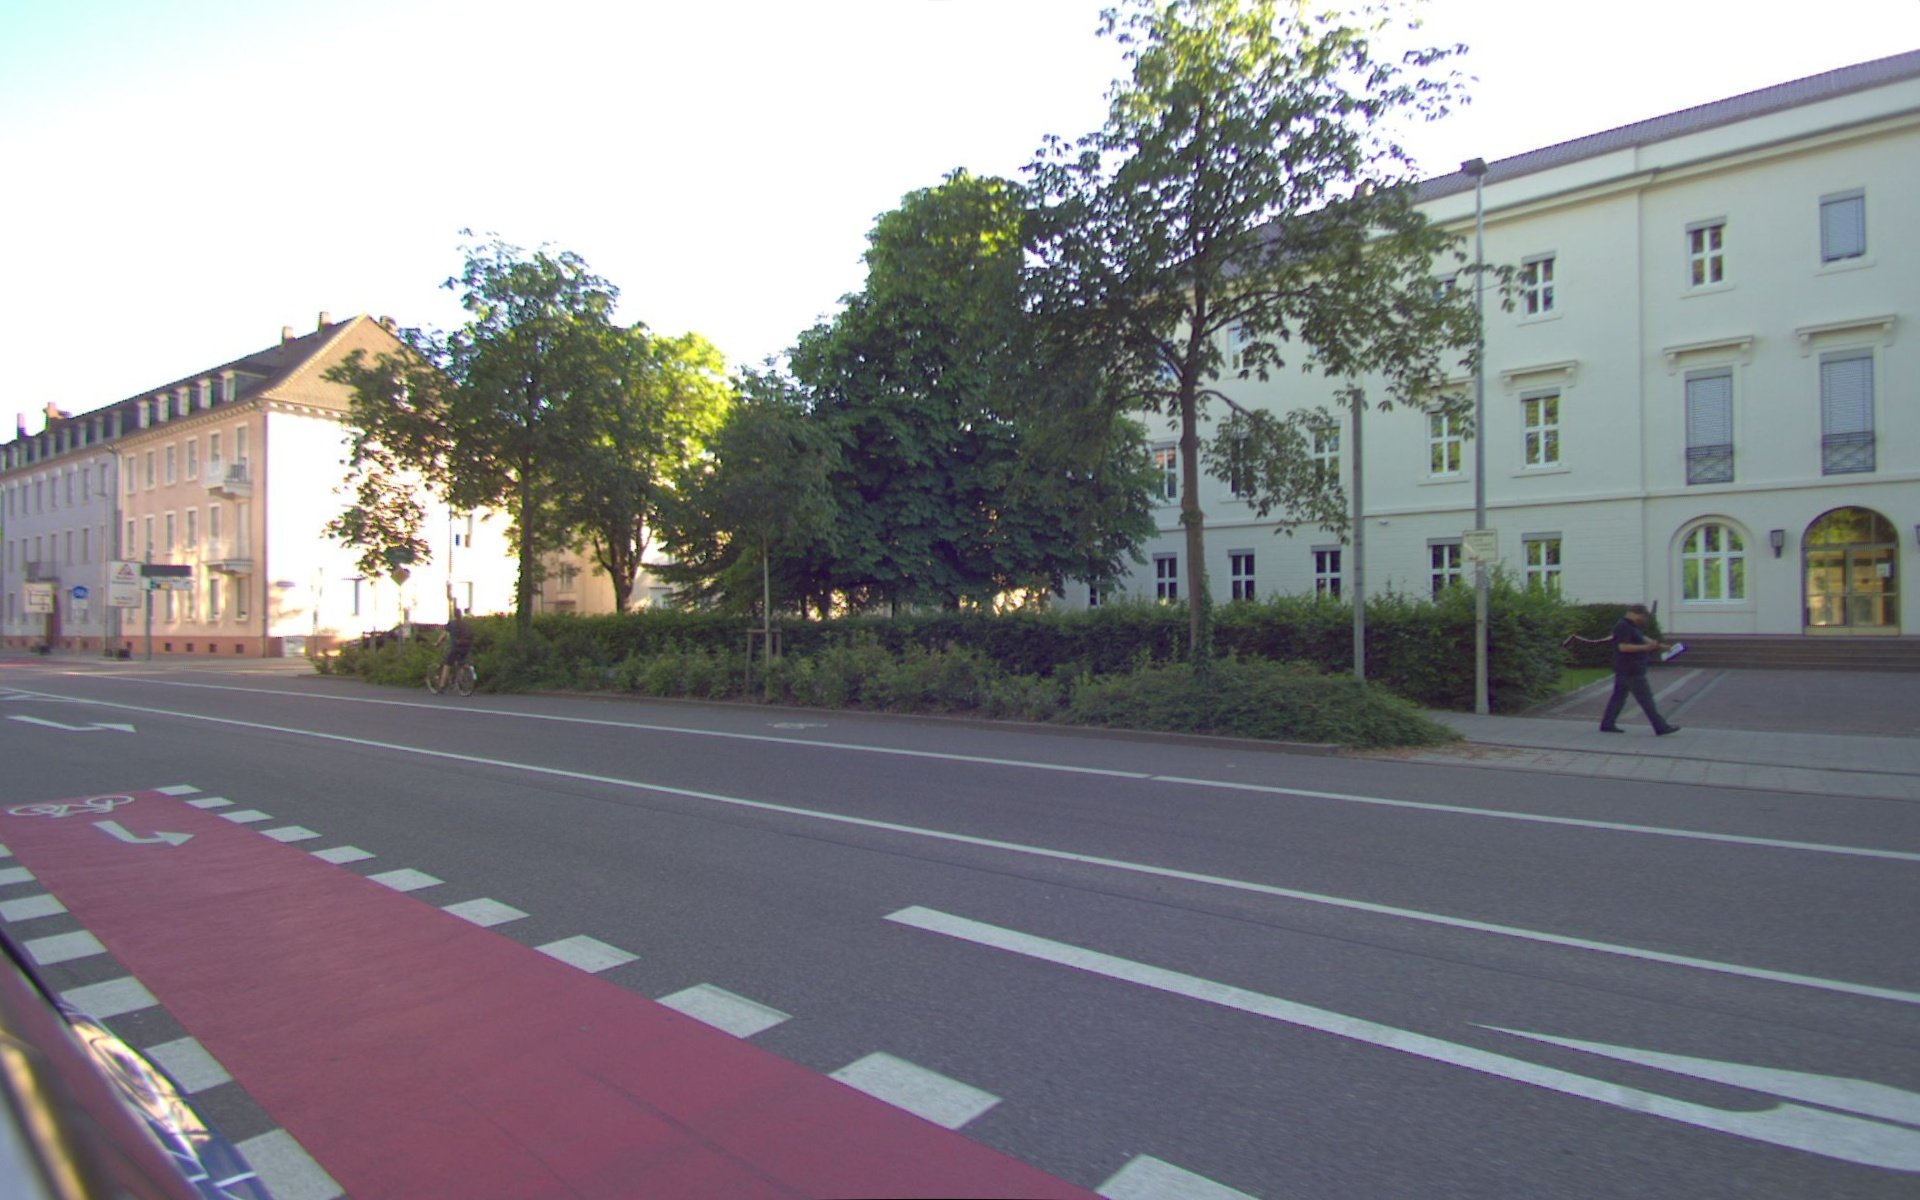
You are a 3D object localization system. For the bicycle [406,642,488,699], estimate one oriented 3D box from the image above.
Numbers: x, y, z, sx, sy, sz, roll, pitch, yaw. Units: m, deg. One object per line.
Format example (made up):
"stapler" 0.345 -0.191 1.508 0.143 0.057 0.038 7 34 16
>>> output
"bicycle" -11.089 1.499 21.857 2.243 1.168 0.688 -2 -3 39

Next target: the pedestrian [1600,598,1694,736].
"pedestrian" 9.084 0.860 13.397 0.966 1.733 0.827 -1 -2 35

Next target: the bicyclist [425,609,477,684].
"bicyclist" -10.930 0.999 21.752 0.837 1.574 0.683 -2 -3 38

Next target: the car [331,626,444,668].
"car" -25.431 2.050 45.066 1.993 1.674 3.957 -1 0 32
